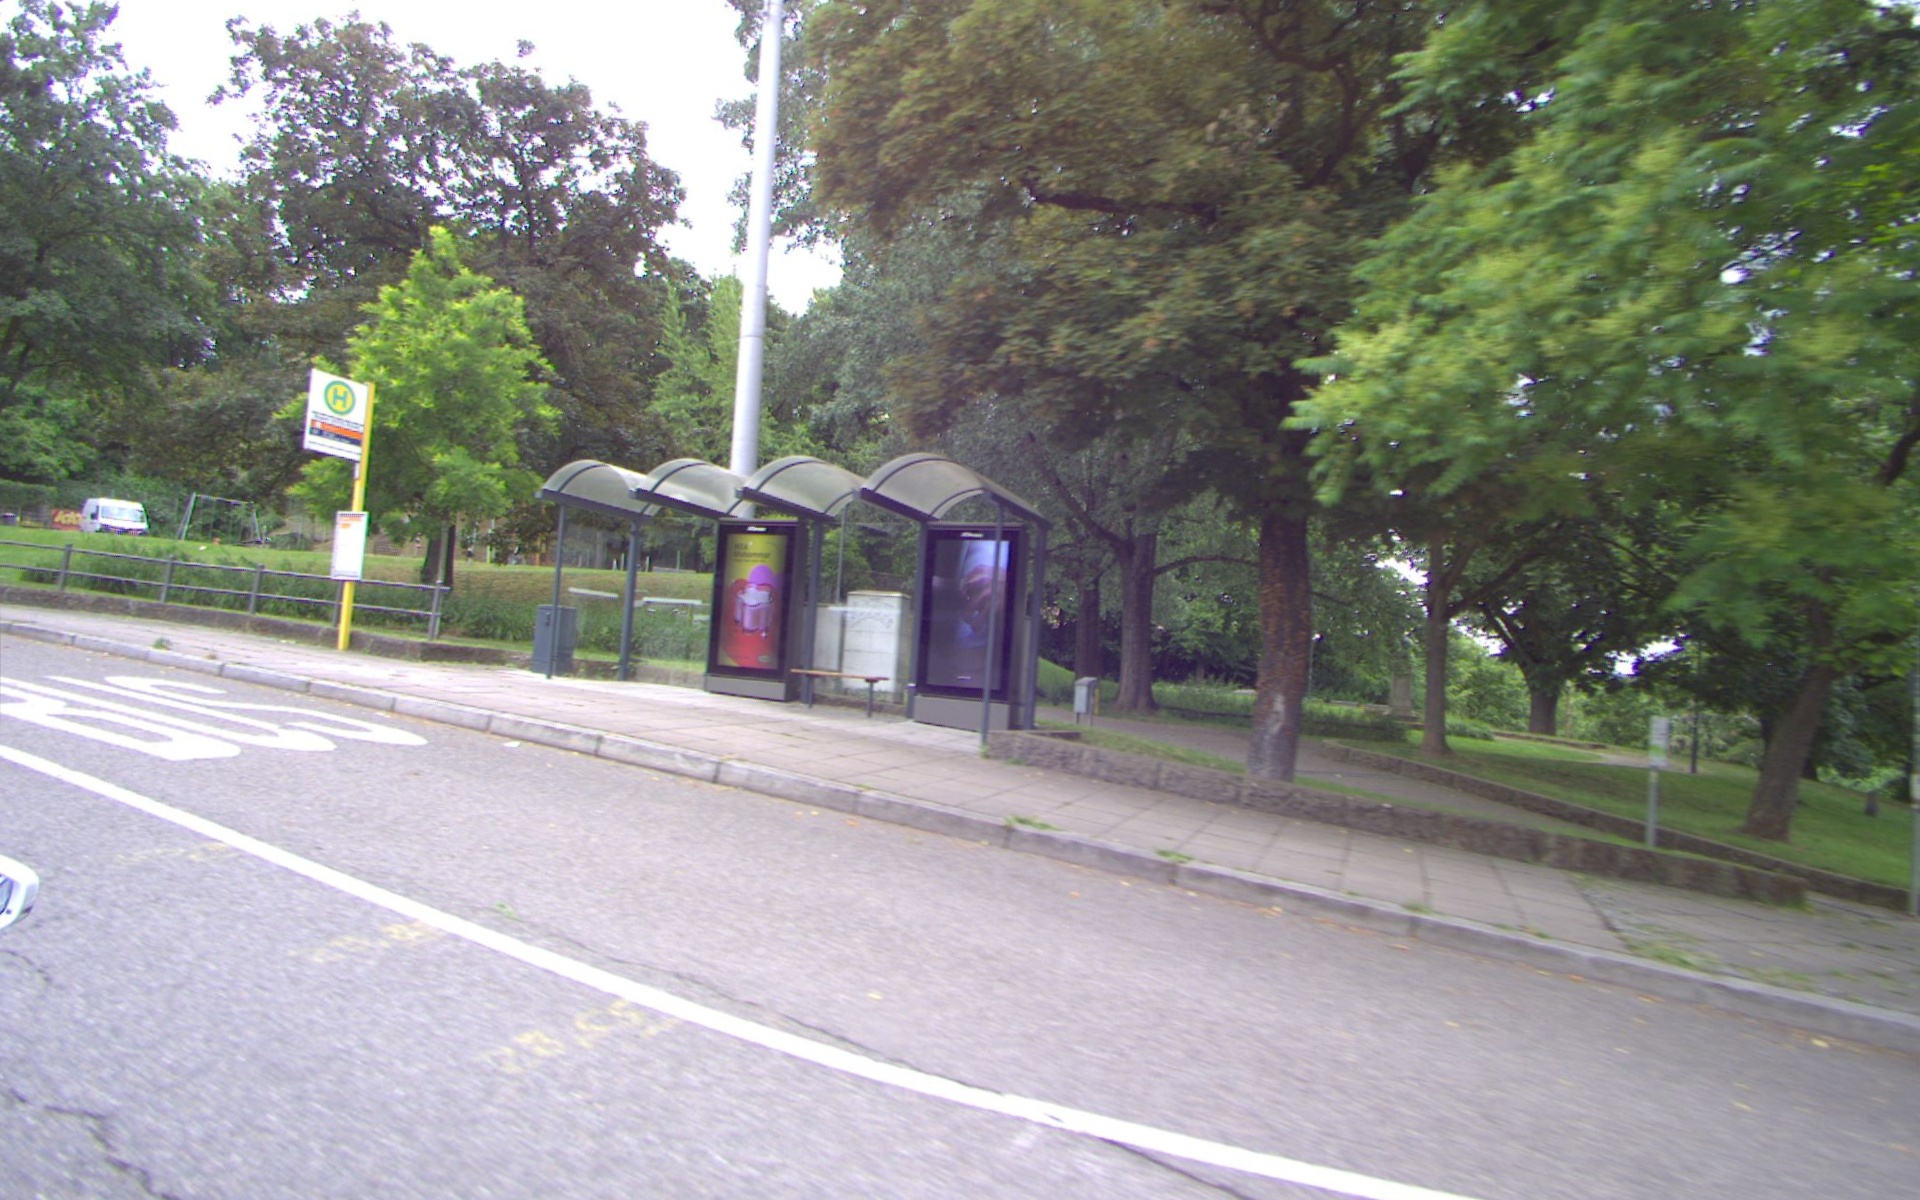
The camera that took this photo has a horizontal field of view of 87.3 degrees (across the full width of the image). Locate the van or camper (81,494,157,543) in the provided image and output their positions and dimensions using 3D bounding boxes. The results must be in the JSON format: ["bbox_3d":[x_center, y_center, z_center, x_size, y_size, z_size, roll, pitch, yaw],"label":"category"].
[{"bbox_3d":[-43.339,-4.235,51.803,5.370,2.038,2.299,6,-1,44],"label":"van or camper"}]
